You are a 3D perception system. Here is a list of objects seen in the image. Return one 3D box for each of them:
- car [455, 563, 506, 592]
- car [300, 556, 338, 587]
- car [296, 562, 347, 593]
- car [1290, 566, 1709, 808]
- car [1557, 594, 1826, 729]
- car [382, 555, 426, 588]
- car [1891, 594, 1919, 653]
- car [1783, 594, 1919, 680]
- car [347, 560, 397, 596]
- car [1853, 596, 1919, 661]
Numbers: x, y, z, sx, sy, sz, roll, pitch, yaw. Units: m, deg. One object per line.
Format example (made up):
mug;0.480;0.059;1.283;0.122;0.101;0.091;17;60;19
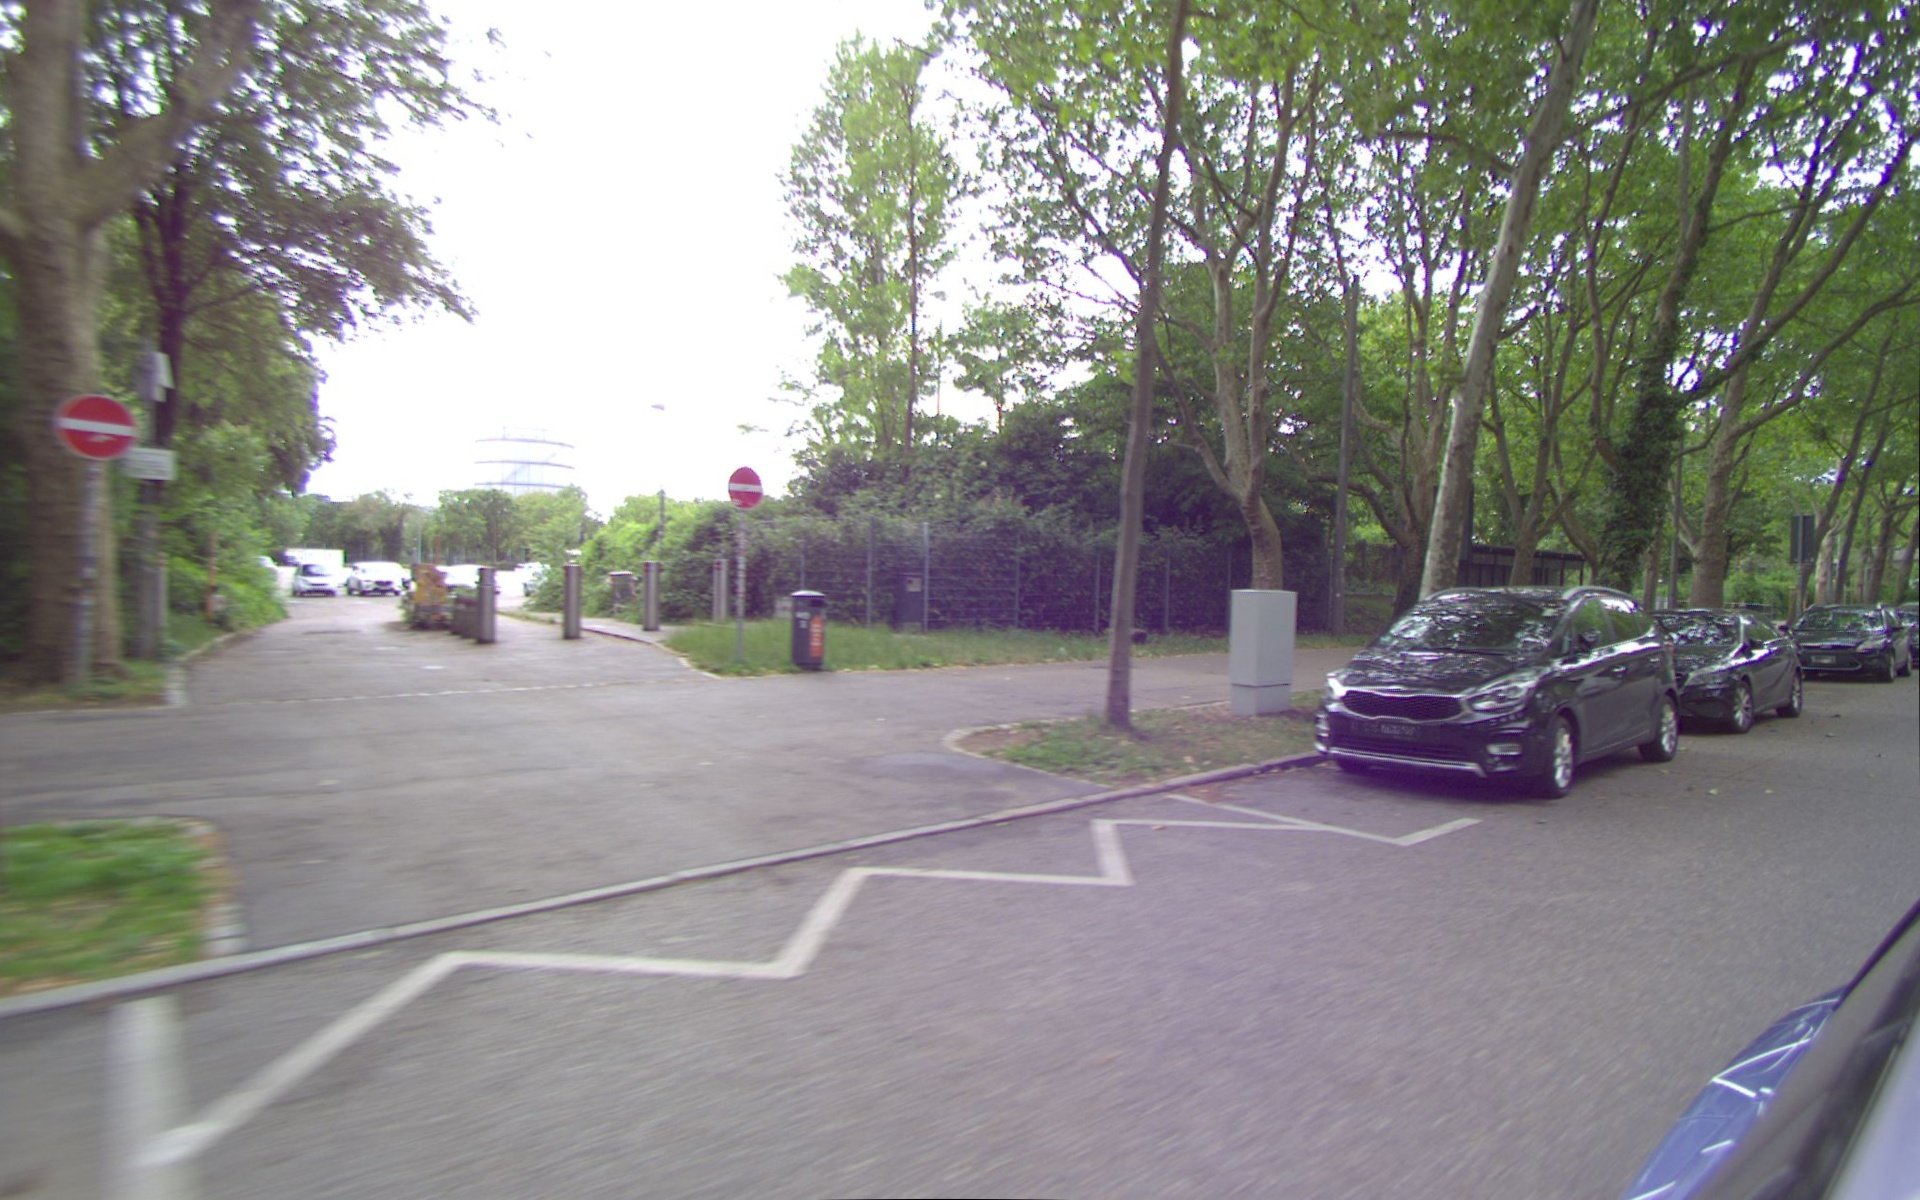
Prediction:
car;-24.792;-1.178;52.282;1.898;1.399;4.003;0;2;-32
car;-38.095;-1.690;60.120;1.794;1.776;4.001;0;2;-34
car;-30.140;-1.092;47.824;1.961;1.399;4.003;0;2;-32
car;4.920;0.595;8.949;4.389;1.623;1.832;0;-1;-41
car;9.355;0.666;12.820;4.211;1.436;1.779;0;-1;-40
car;-32.002;-1.650;58.205;1.794;1.776;4.001;0;2;-34
car;28.479;0.651;29.242;4.149;1.638;1.782;0;-1;-40
car;18.458;0.693;20.720;4.320;1.573;1.780;0;-1;-41
car;-28.255;-1.067;48.560;1.961;1.622;4.003;0;2;-32
car;23.585;0.667;24.916;4.076;1.490;1.742;0;-1;-39
